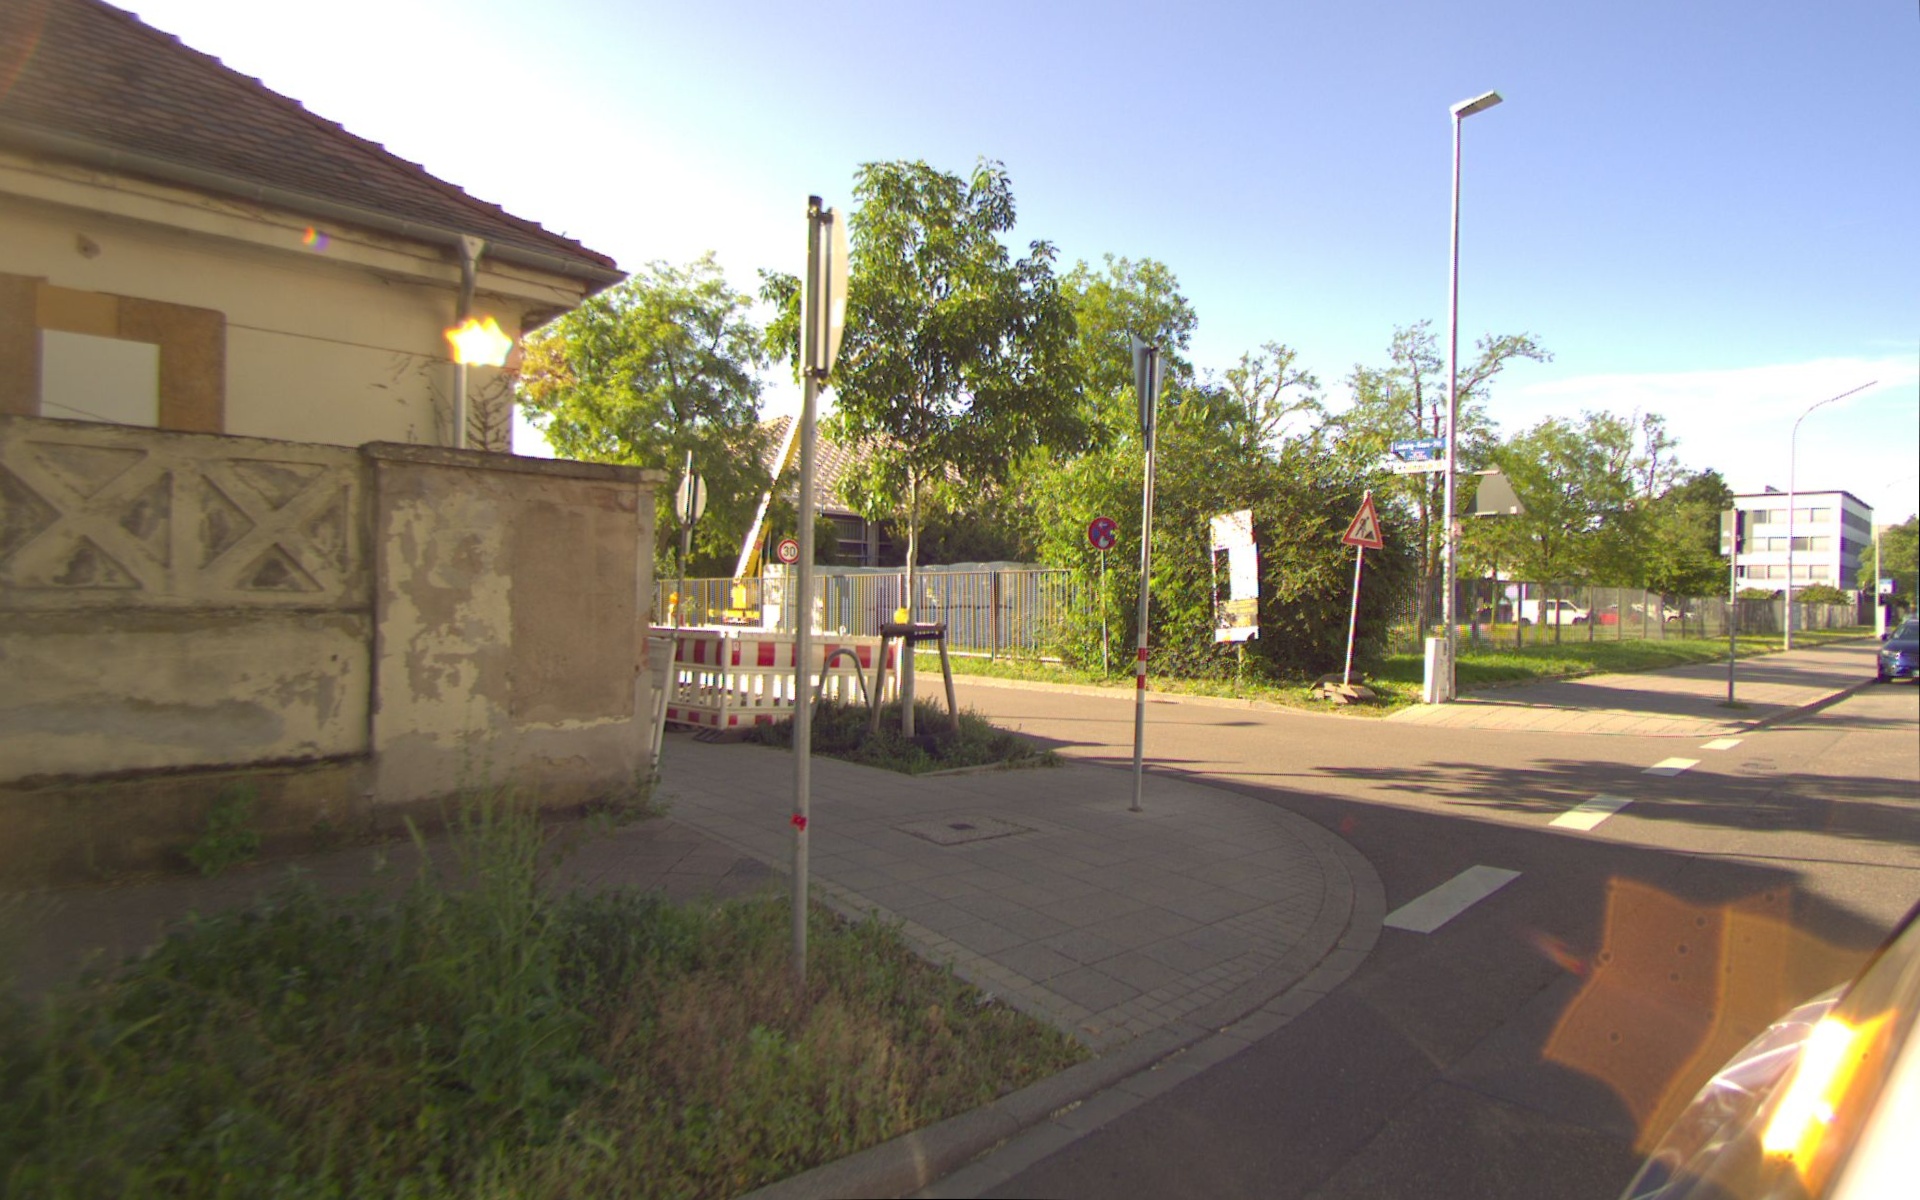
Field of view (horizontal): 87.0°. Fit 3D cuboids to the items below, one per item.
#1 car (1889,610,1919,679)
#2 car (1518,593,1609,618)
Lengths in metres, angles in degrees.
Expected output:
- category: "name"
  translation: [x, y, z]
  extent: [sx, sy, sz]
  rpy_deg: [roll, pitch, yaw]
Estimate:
- category: "car"
  translation: [22.499, 0.977, 22.869]
  extent: [4.141, 1.471, 1.820]
  rpy_deg: [1, -1, -42]
- category: "car"
  translation: [40.963, 0.387, 68.800]
  extent: [2.061, 1.665, 4.968]
  rpy_deg: [0, -1, -44]
